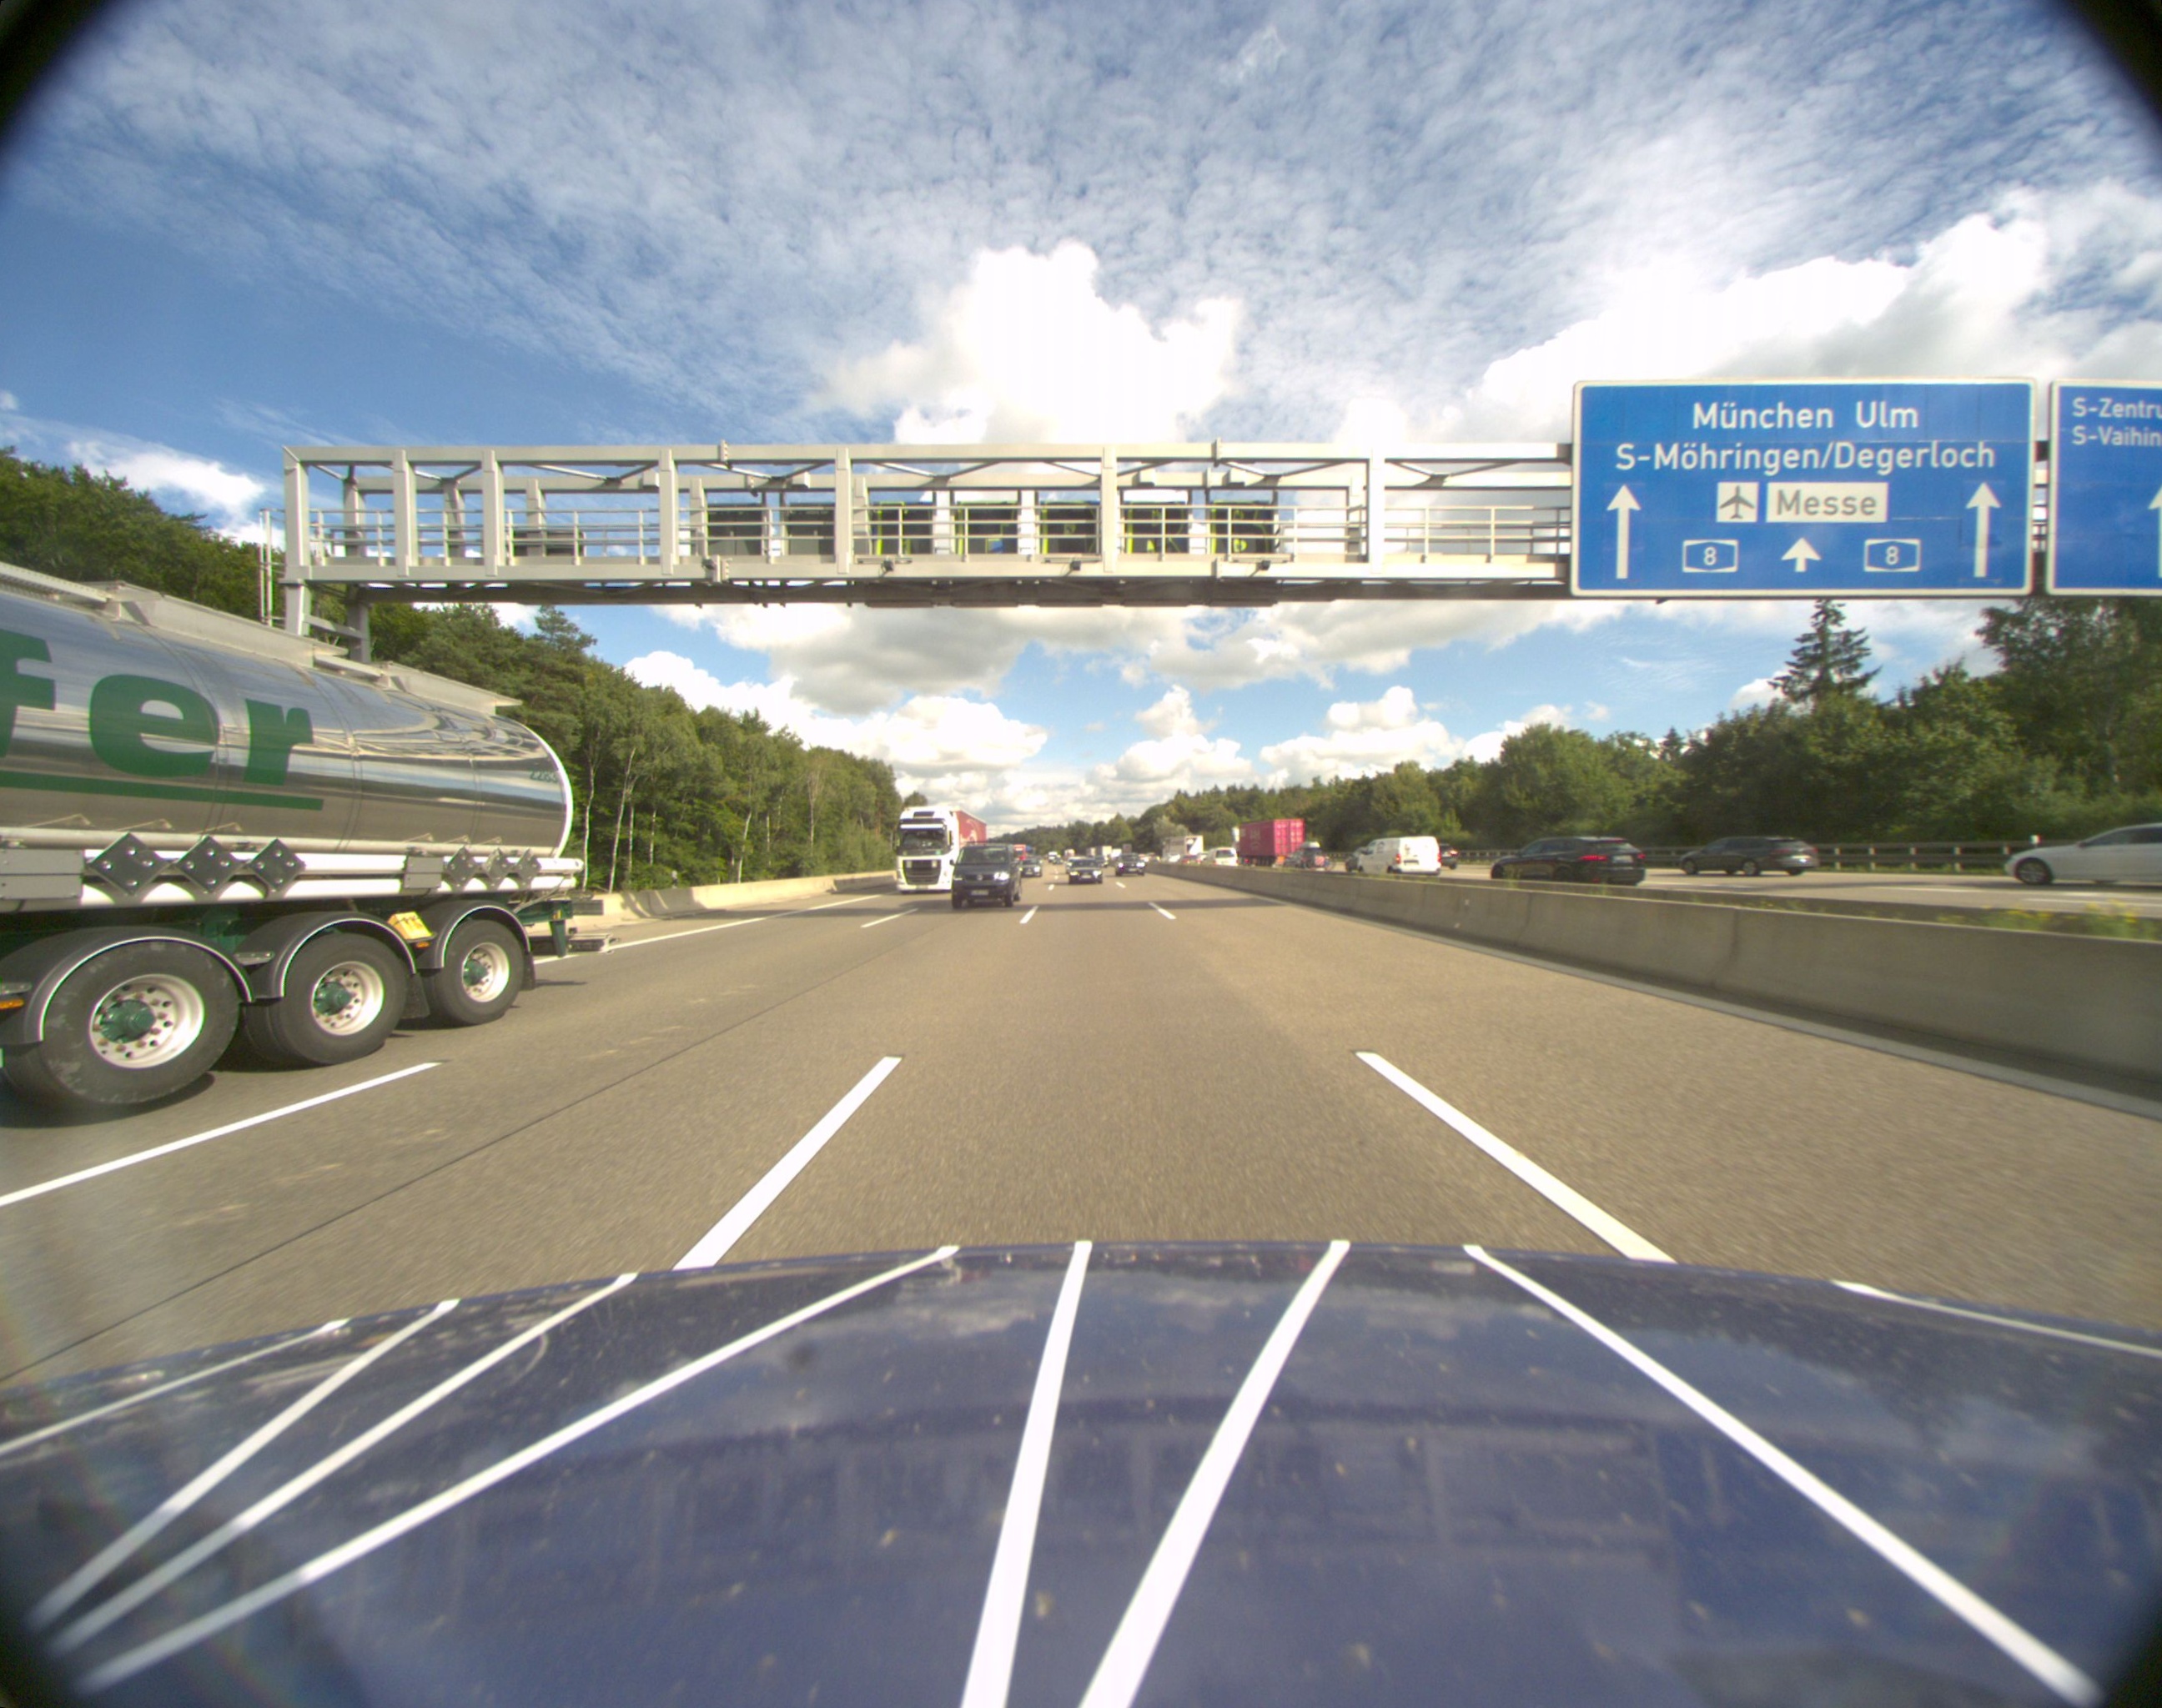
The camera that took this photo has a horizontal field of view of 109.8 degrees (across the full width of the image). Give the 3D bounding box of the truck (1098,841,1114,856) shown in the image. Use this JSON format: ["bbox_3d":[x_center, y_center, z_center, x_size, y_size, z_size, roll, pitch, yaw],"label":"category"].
[{"bbox_3d":[7.197,-1.548,221.230,2.828,4.070,13.837,-2,0,-5],"label":"truck"}]

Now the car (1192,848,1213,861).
[{"bbox_3d":[15.741,0.024,98.533,1.798,1.608,5.043,-2,0,-2],"label":"car"}]

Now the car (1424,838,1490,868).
[{"bbox_3d":[21.868,-0.057,44.385,1.821,1.604,4.146,-2,0,1],"label":"car"}]

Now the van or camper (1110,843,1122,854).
[{"bbox_3d":[9.125,-1.432,197.691,2.381,2.875,6.502,0,0,-5],"label":"van or camper"}]

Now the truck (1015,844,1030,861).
[{"bbox_3d":[-12.925,-0.285,166.500,3.019,3.662,7.557,-1,0,-6],"label":"truck"}]

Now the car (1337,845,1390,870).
[{"bbox_3d":[17.483,0.205,47.206,1.642,1.407,3.999,-2,0,-1],"label":"car"}]

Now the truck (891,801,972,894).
[{"bbox_3d":[-7.032,-0.292,36.491,2.781,4.022,5.772,-2,0,-2],"label":"truck"}]

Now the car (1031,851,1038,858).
[{"bbox_3d":[-13.560,0.092,221.776,2.153,1.807,4.675,-2,0,-4],"label":"car"}]

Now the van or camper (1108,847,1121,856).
[{"bbox_3d":[7.625,-0.512,174.283,2.000,1.926,5.454,-2,0,-6],"label":"van or camper"}]

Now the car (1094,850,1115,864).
[{"bbox_3d":[2.859,0.353,93.154,2.153,1.540,4.675,-2,0,-3],"label":"car"}]

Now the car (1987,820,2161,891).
[{"bbox_3d":[24.585,0.007,17.368,1.820,1.536,5.132,-2,0,3],"label":"car"}]

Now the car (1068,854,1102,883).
[{"bbox_3d":[0.223,0.765,42.373,1.733,1.500,4.727,-2,0,0],"label":"car"}]

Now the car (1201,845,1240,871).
[{"bbox_3d":[9.597,0.257,52.465,1.774,1.639,4.519,-2,0,0],"label":"car"}]

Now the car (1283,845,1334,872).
[{"bbox_3d":[13.814,0.237,46.368,1.702,1.519,4.684,-2,0,0],"label":"car"}]

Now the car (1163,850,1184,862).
[{"bbox_3d":[11.672,0.236,95.906,1.862,1.517,4.993,-2,0,-2],"label":"car"}]

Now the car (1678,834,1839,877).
[{"bbox_3d":[24.855,0.039,28.146,1.706,1.432,4.707,-2,0,0],"label":"car"}]

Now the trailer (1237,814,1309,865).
[{"bbox_3d":[16.929,-1.226,68.342,2.746,4.083,13.413,-2,0,-1],"label":"trailer"}]

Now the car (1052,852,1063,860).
[{"bbox_3d":[-5.452,0.514,175.709,2.153,1.807,4.675,-2,0,-4],"label":"car"}]

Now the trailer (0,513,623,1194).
[{"bbox_3d":[-7.278,0.010,3.697,2.655,3.745,11.860,-1,0,1],"label":"trailer"}]

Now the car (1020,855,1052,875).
[{"bbox_3d":[-3.598,0.845,59.486,2.154,1.426,5.096,-2,0,-7],"label":"car"}]

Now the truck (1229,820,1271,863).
[{"bbox_3d":[16.774,-1.238,75.766,2.746,4.083,5.763,-2,1,-1],"label":"truck"}]

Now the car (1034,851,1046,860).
[{"bbox_3d":[-7.731,0.285,142.885,2.153,1.540,4.675,-2,0,-3],"label":"car"}]

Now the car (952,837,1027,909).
[{"bbox_3d":[-2.923,0.551,25.288,1.854,2.097,4.932,-2,0,0],"label":"car"}]

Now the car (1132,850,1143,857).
[{"bbox_3d":[14.204,-0.105,191.541,2.177,1.674,4.785,-2,0,-2],"label":"car"}]

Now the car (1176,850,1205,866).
[{"bbox_3d":[9.851,0.333,68.554,1.798,1.367,4.547,-2,0,-2],"label":"car"}]

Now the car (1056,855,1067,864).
[{"bbox_3d":[-3.646,1.008,141.754,2.153,1.540,4.676,-2,0,-2],"label":"car"}]

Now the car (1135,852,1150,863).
[{"bbox_3d":[8.275,0.422,102.234,1.774,1.433,4.851,-2,0,1],"label":"car"}]

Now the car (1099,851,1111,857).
[{"bbox_3d":[4.886,0.091,156.780,1.817,1.154,4.512,-2,0,-7],"label":"car"}]

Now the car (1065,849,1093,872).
[{"bbox_3d":[-0.221,0.541,67.764,2.153,1.800,5.097,-2,1,-3],"label":"car"}]

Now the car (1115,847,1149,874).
[{"bbox_3d":[3.650,0.442,55.087,2.153,1.800,5.098,-2,1,1],"label":"car"}]

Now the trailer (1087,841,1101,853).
[{"bbox_3d":[4.049,-2.176,247.363,2.976,3.835,11.273,-2,0,-7],"label":"trailer"}]

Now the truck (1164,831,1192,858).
[{"bbox_3d":[15.663,-1.507,123.423,3.327,4.083,6.222,-2,1,-4],"label":"truck"}]

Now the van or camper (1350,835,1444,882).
[{"bbox_3d":[13.630,0.168,33.156,1.867,1.839,5.154,-2,0,-1],"label":"van or camper"}]

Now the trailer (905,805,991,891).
[{"bbox_3d":[-7.207,-0.312,43.373,2.781,4.021,13.710,-2,0,-2],"label":"trailer"}]

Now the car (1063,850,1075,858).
[{"bbox_3d":[-2.473,0.072,157.613,2.153,1.540,4.675,-2,0,-3],"label":"car"}]

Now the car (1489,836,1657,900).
[{"bbox_3d":[14.099,0.366,22.135,1.703,1.620,4.496,-2,0,-4],"label":"car"}]

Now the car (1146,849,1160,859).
[{"bbox_3d":[11.401,0.019,120.211,1.712,1.584,4.943,-2,0,0],"label":"car"}]

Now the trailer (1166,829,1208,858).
[{"bbox_3d":[16.162,-1.485,117.111,3.327,4.083,14.147,-2,0,-5],"label":"trailer"}]
